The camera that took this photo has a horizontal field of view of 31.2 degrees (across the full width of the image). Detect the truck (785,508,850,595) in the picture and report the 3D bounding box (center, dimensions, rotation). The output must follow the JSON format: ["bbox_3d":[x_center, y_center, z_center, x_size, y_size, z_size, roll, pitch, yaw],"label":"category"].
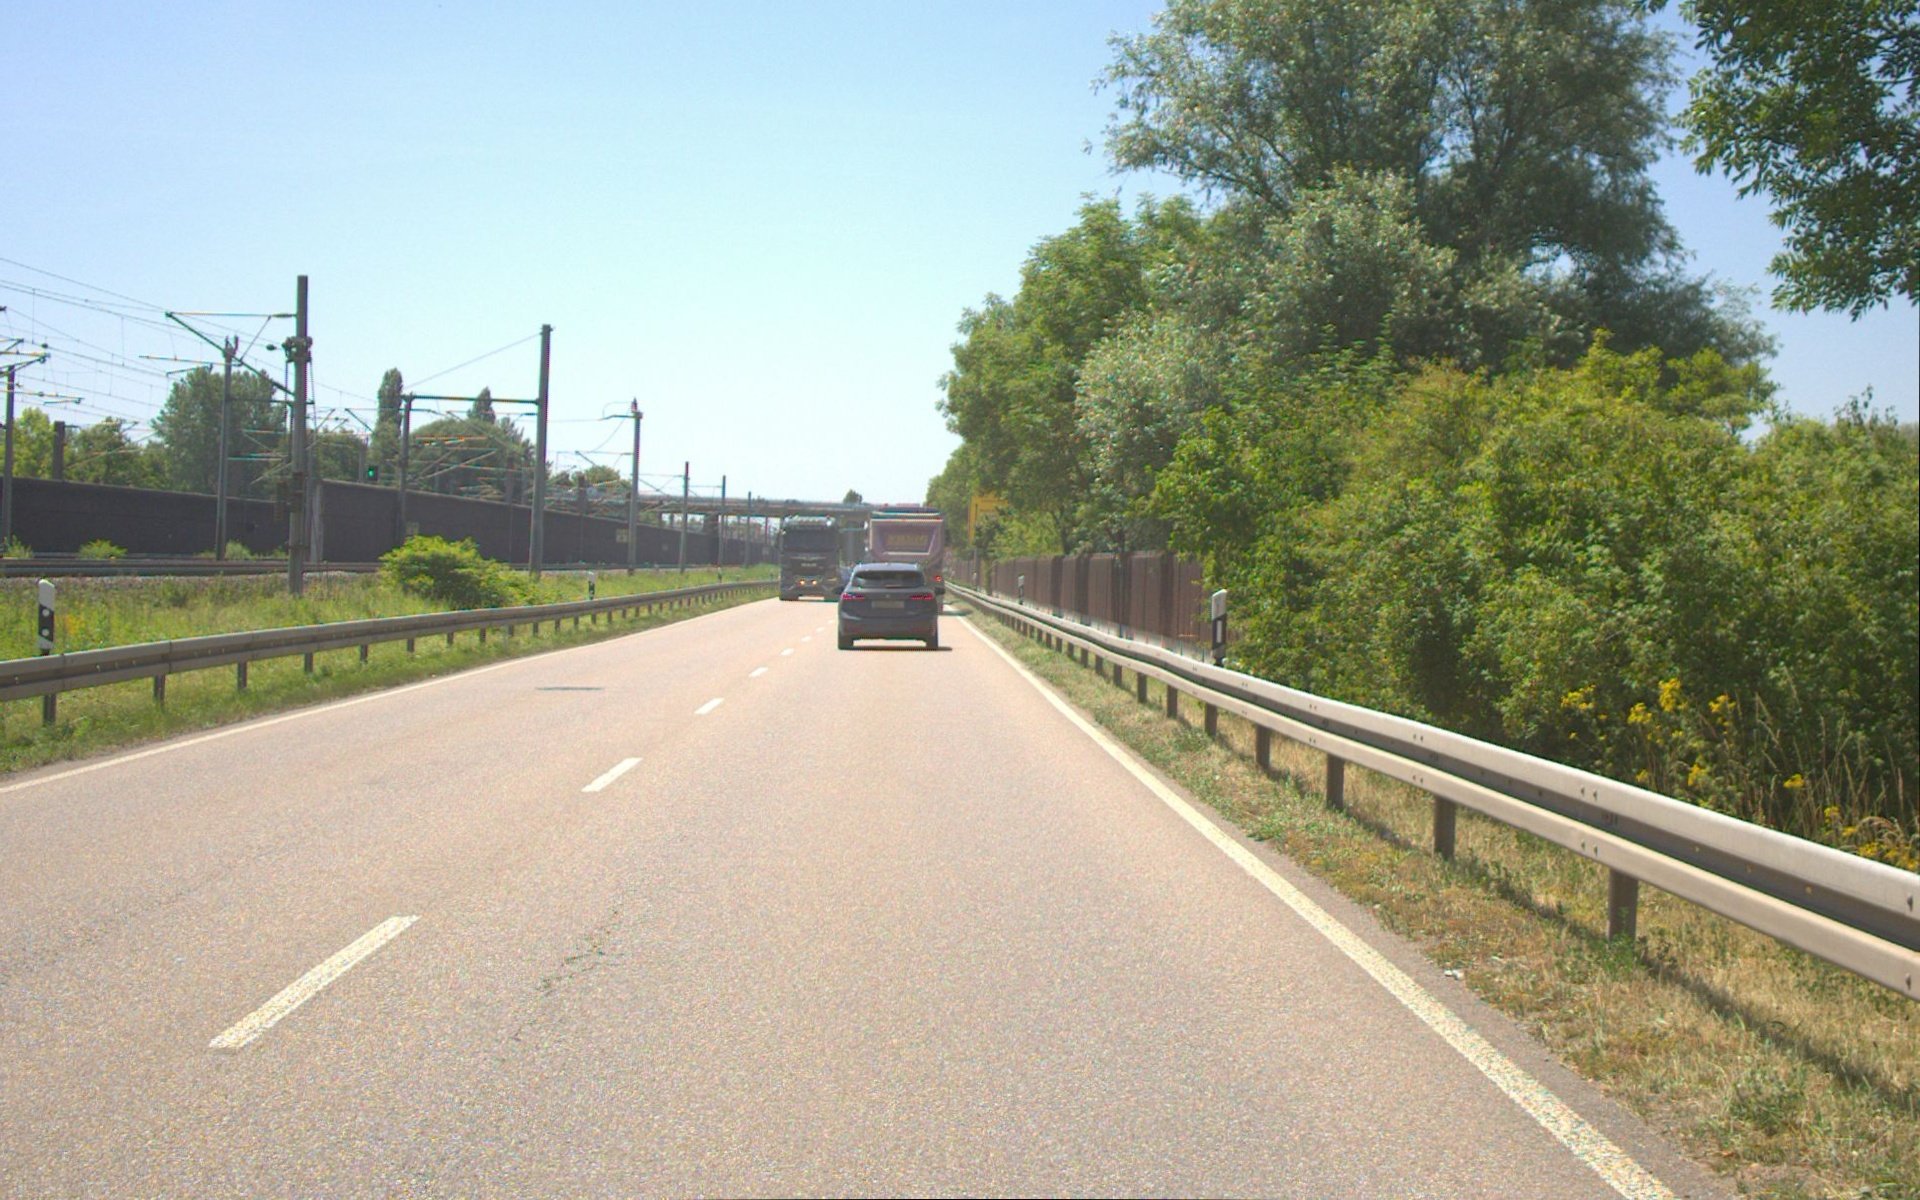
[{"bbox_3d":[-6.211,-2.133,150.706,2.658,3.614,10.979,1,1,-2],"label":"truck"}]

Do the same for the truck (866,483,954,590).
[{"bbox_3d":[-1.706,-2.101,116.500,2.770,3.414,10.820,1,1,-1],"label":"truck"}]

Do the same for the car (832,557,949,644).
[{"bbox_3d":[-1.308,-0.020,62.897,1.993,1.503,4.001,1,1,-3],"label":"car"}]
